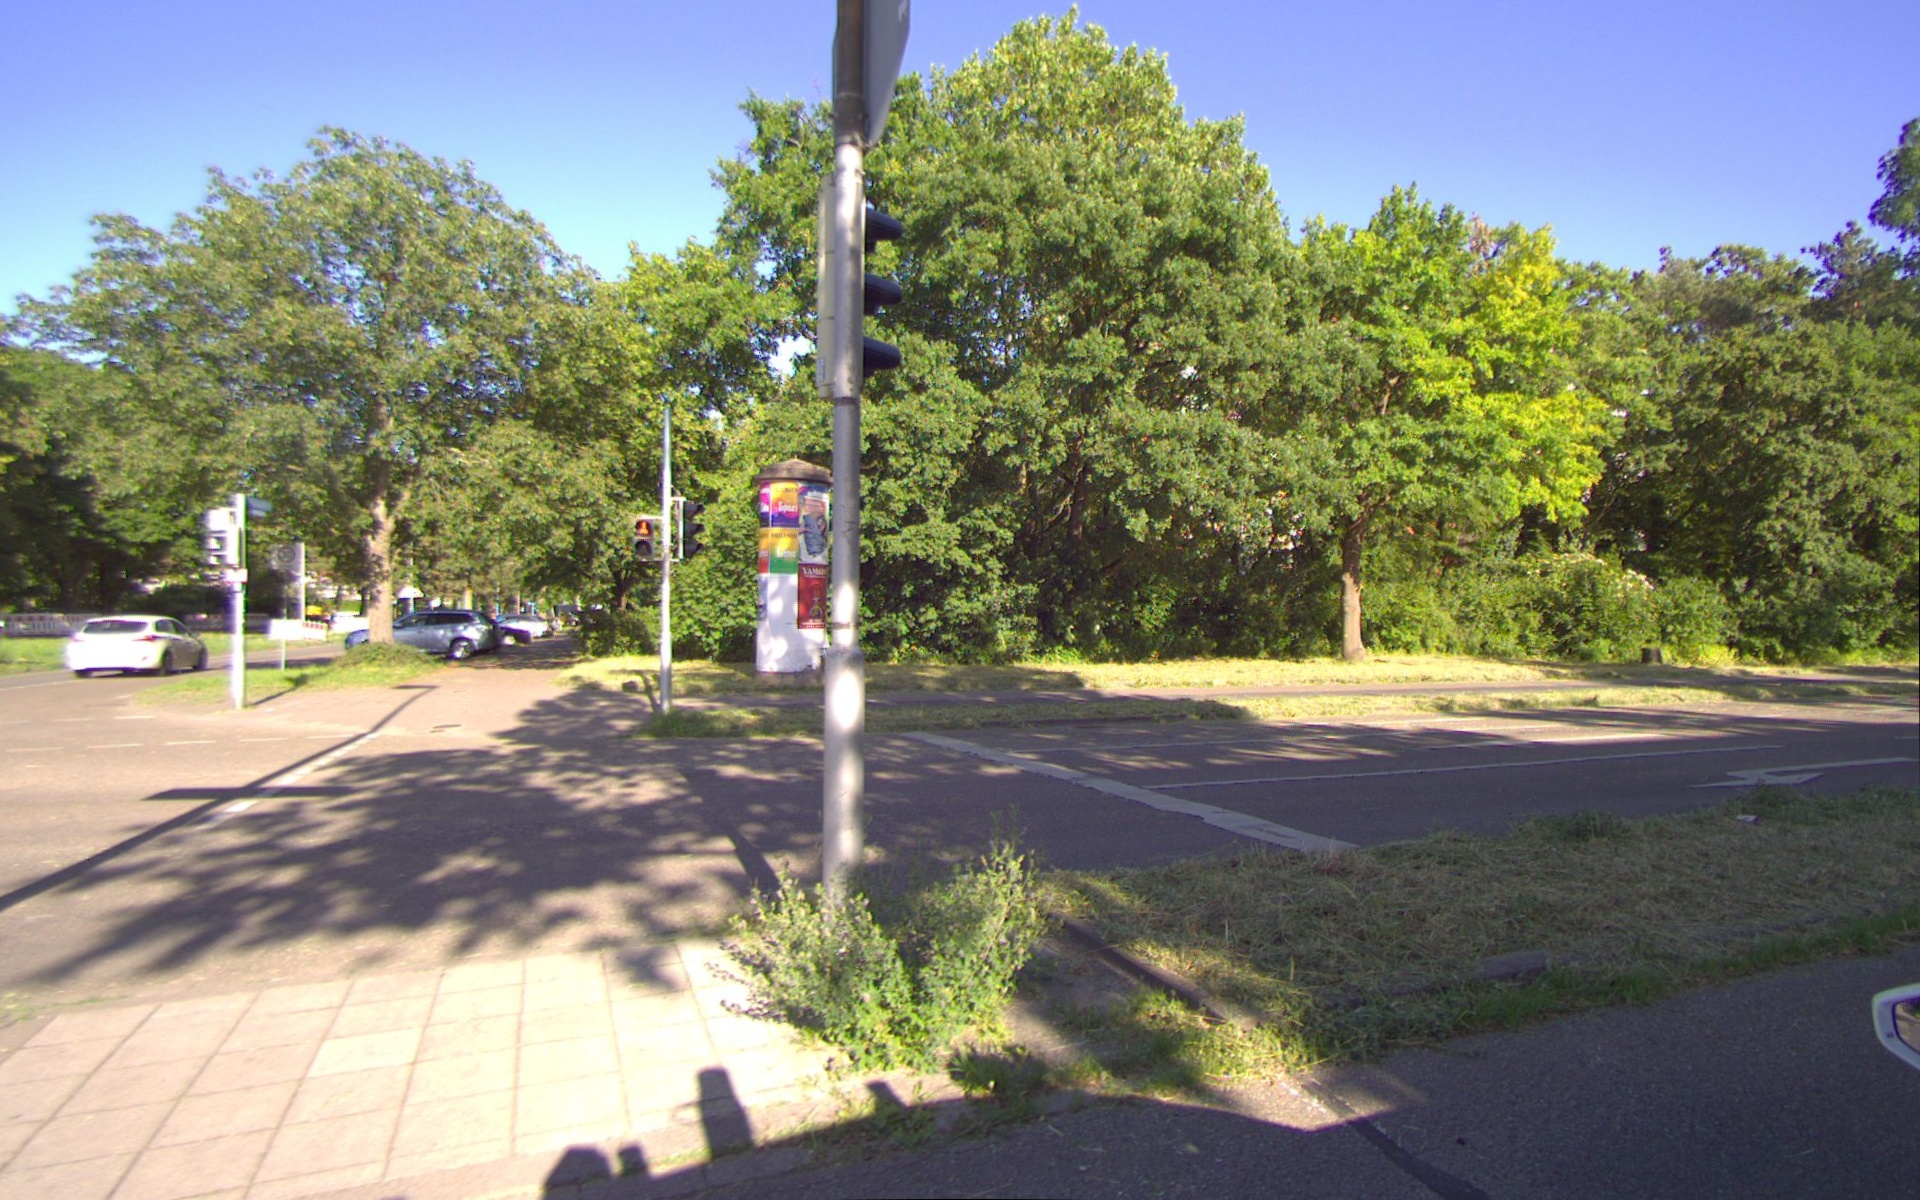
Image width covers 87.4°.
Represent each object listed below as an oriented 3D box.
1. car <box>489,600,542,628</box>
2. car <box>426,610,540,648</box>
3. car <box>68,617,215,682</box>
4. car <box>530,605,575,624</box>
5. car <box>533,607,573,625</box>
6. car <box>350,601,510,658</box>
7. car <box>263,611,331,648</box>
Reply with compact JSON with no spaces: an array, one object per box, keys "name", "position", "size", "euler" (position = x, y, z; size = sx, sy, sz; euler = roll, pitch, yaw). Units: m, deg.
[{"name":"car","position":[-36.381,1.185,82.302],"size":[3.773,2.126,1.856],"euler":[3,-2,-19]},{"name":"car","position":[-21.703,1.311,45.900],"size":[4.440,1.651,1.848],"euler":[1,-1,-17]},{"name":"car","position":[-20.611,1.209,25.499],"size":[1.769,1.482,3.942],"euler":[2,-1,-22]},{"name":"car","position":[-43.966,1.603,108.470],"size":[4.249,1.932,1.855],"euler":[3,-2,-19]},{"name":"car","position":[-42.749,1.707,105.572],"size":[3.773,1.790,1.856],"euler":[3,-2,-19]},{"name":"car","position":[-17.780,0.998,33.903],"size":[4.440,1.806,1.848],"euler":[1,-1,-17]},{"name":"car","position":[-35.043,1.572,53.212],"size":[1.969,1.840,3.983],"euler":[2,-2,-19]}]
